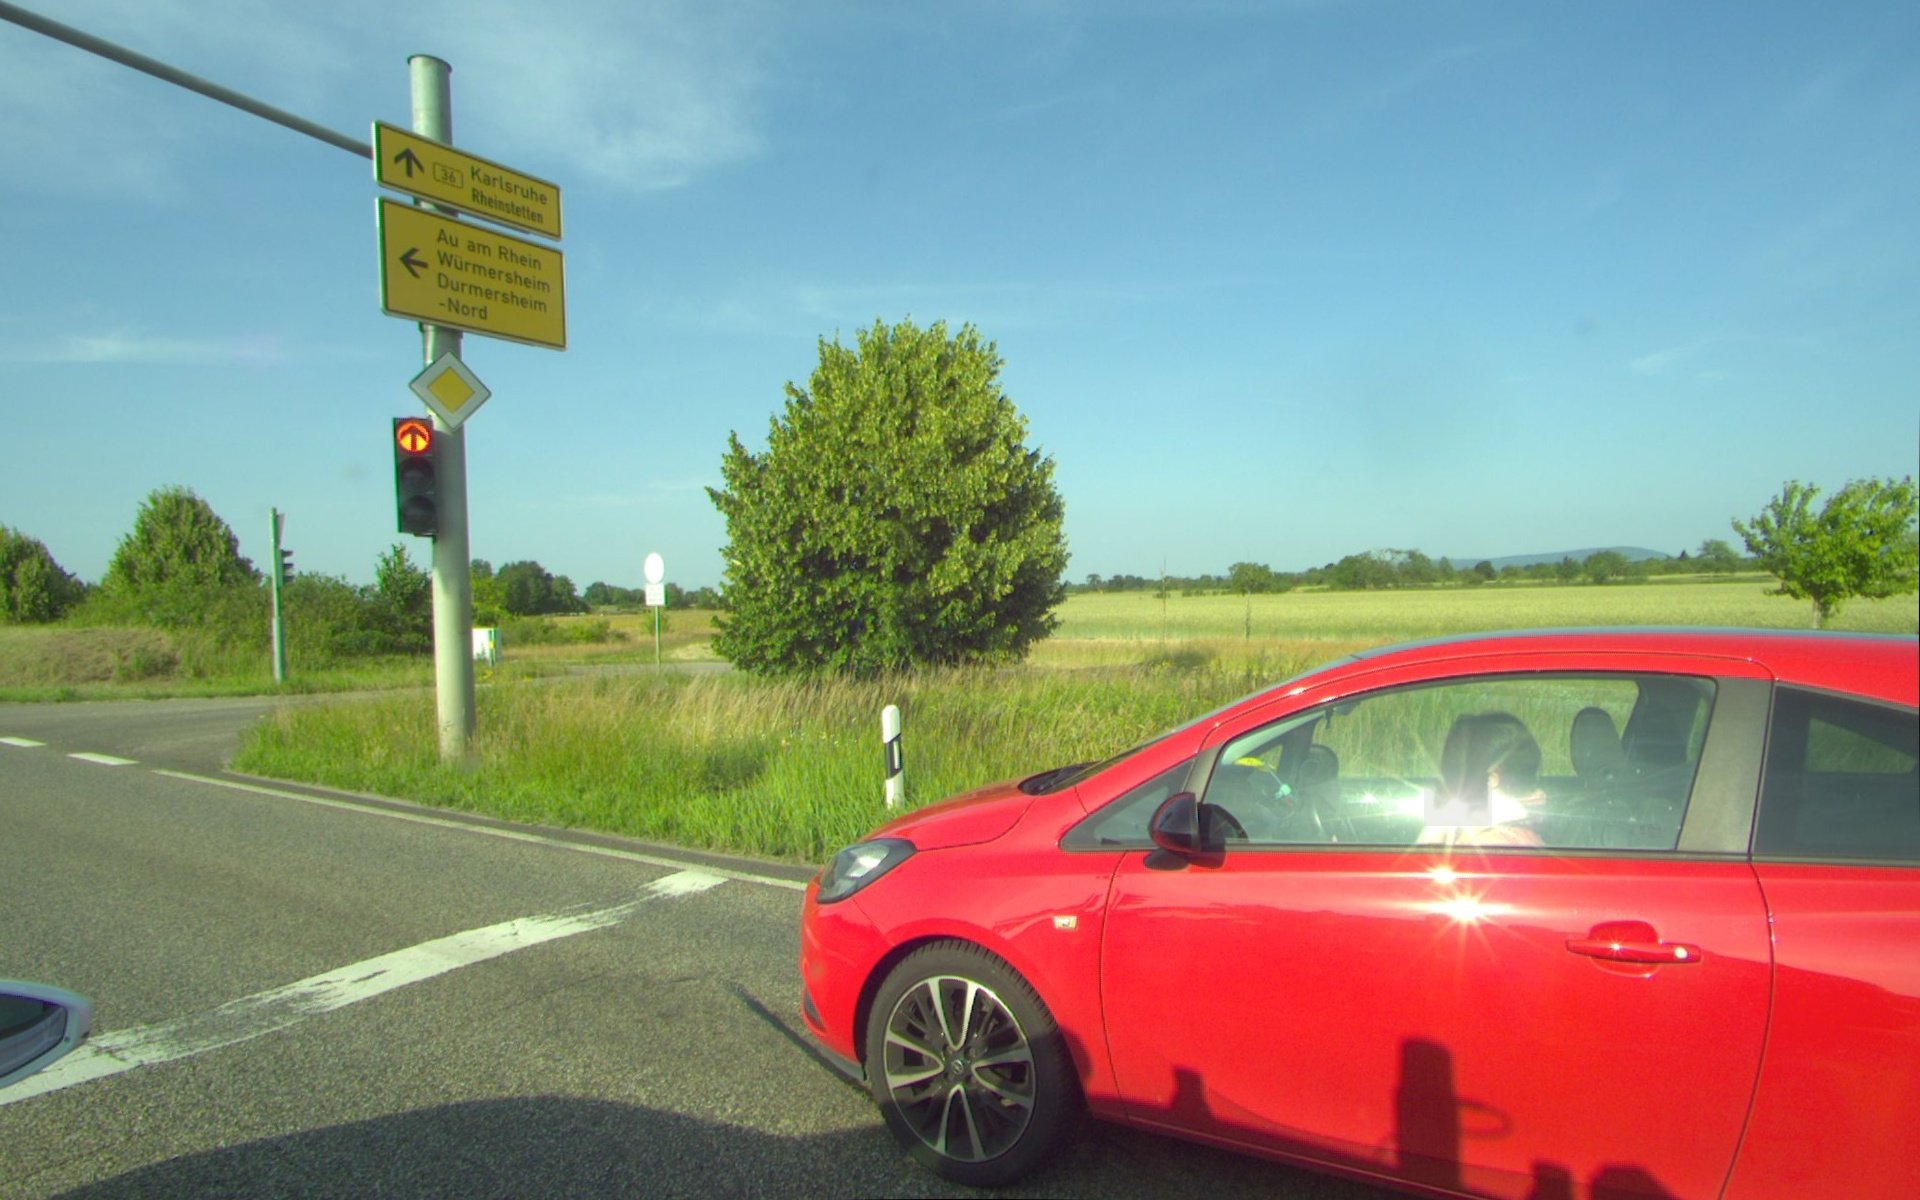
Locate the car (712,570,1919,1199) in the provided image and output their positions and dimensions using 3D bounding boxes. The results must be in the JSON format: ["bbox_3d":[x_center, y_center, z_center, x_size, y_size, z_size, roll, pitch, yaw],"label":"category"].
[{"bbox_3d":[1.283,0.752,2.834,3.693,1.569,1.695,-1,0,29],"label":"car"}]
